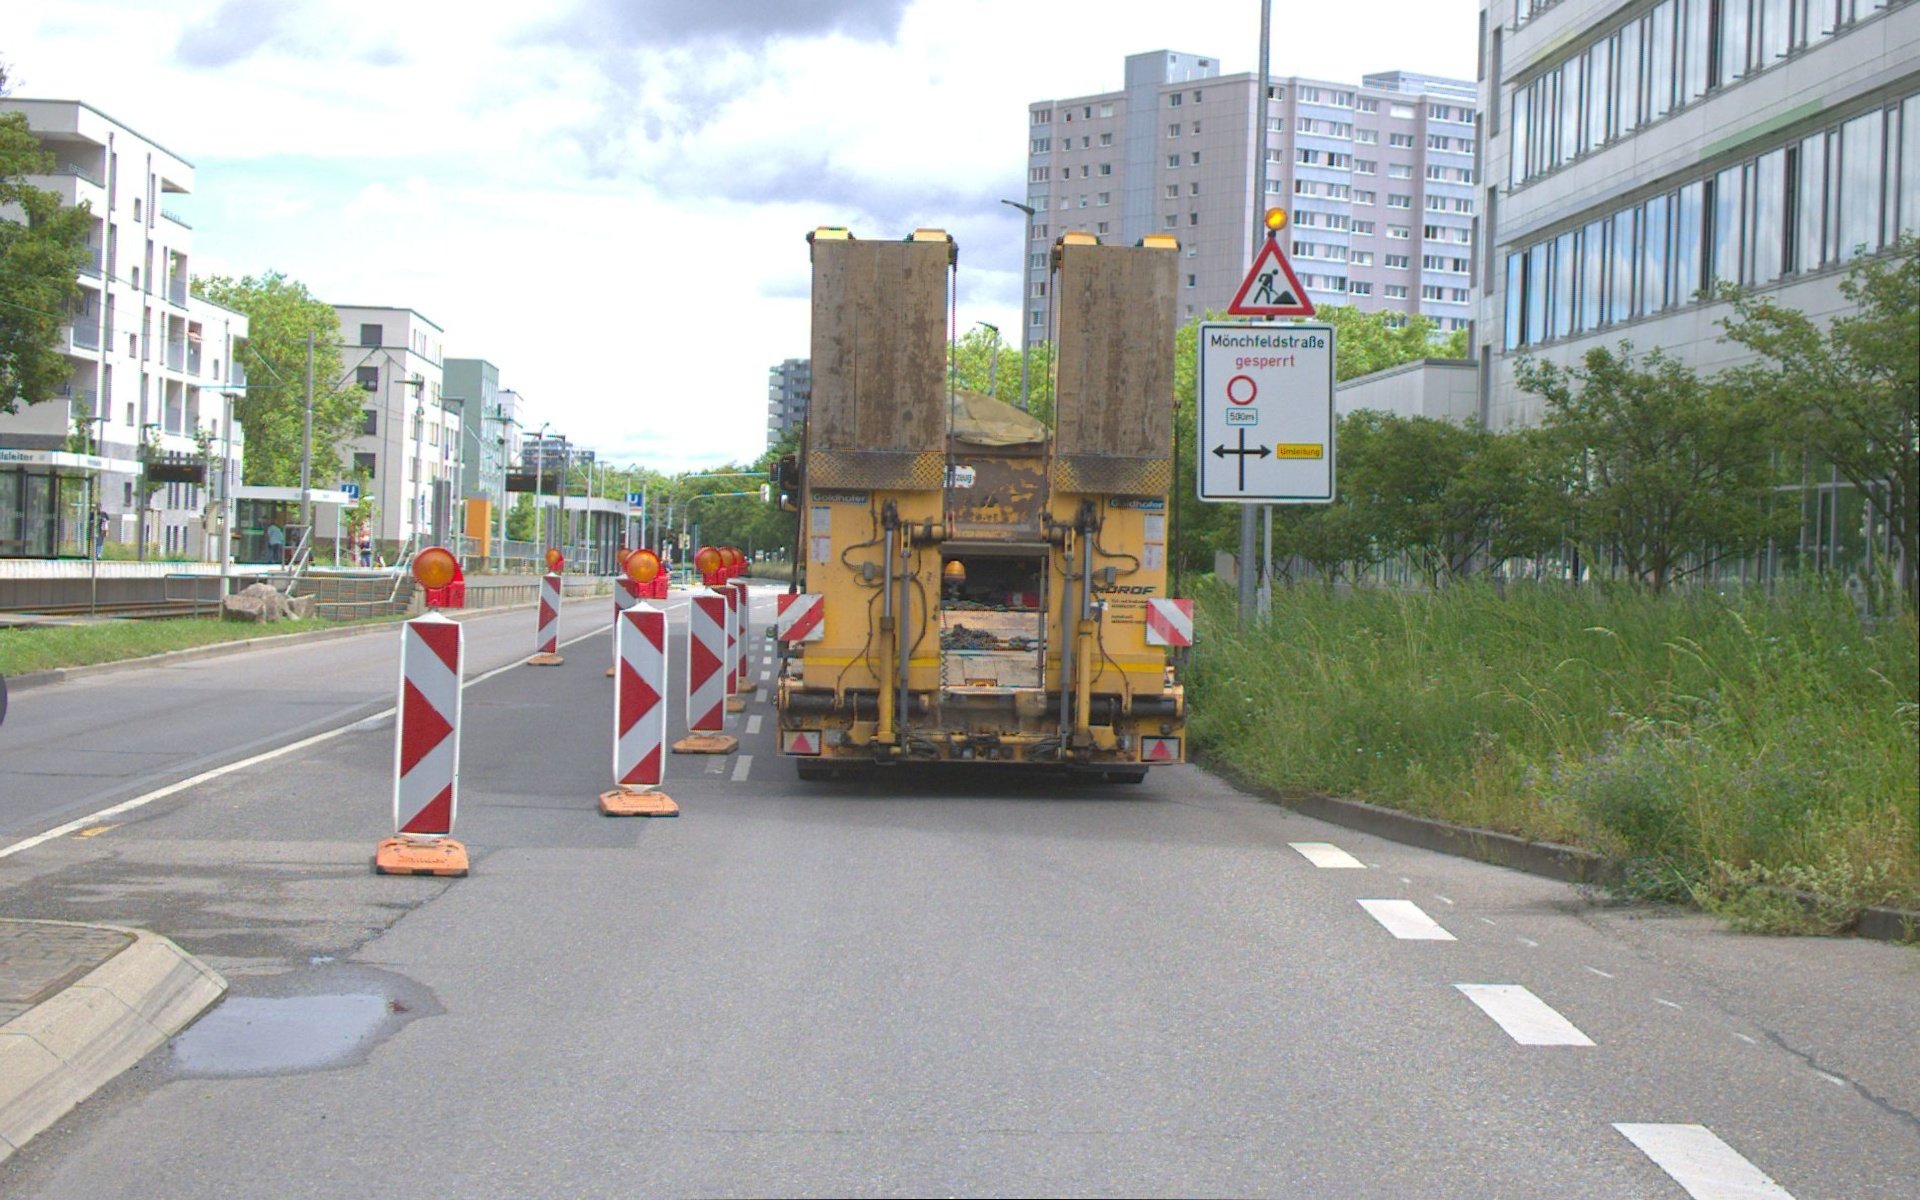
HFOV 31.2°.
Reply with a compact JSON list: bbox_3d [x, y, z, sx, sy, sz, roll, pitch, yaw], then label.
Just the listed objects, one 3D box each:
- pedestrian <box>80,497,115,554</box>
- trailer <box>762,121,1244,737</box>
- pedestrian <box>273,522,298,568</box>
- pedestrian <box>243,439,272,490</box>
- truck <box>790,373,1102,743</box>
[{"bbox_3d":[-23.656,-2.034,94.302,0.741,1.526,0.547,2,0,1],"label":"pedestrian"},{"bbox_3d":[0.086,-1.075,25.980,2.729,3.546,11.254,2,1,-2],"label":"trailer"},{"bbox_3d":[-23.625,-1.926,120.443,0.488,1.591,0.676,2,1,33],"label":"pedestrian"},{"bbox_3d":[-24.213,-4.675,118.522,0.677,1.719,0.488,4,-2,37],"label":"pedestrian"},{"bbox_3d":[-0.264,-0.432,35.786,2.753,3.302,8.352,2,1,-2],"label":"truck"}]
